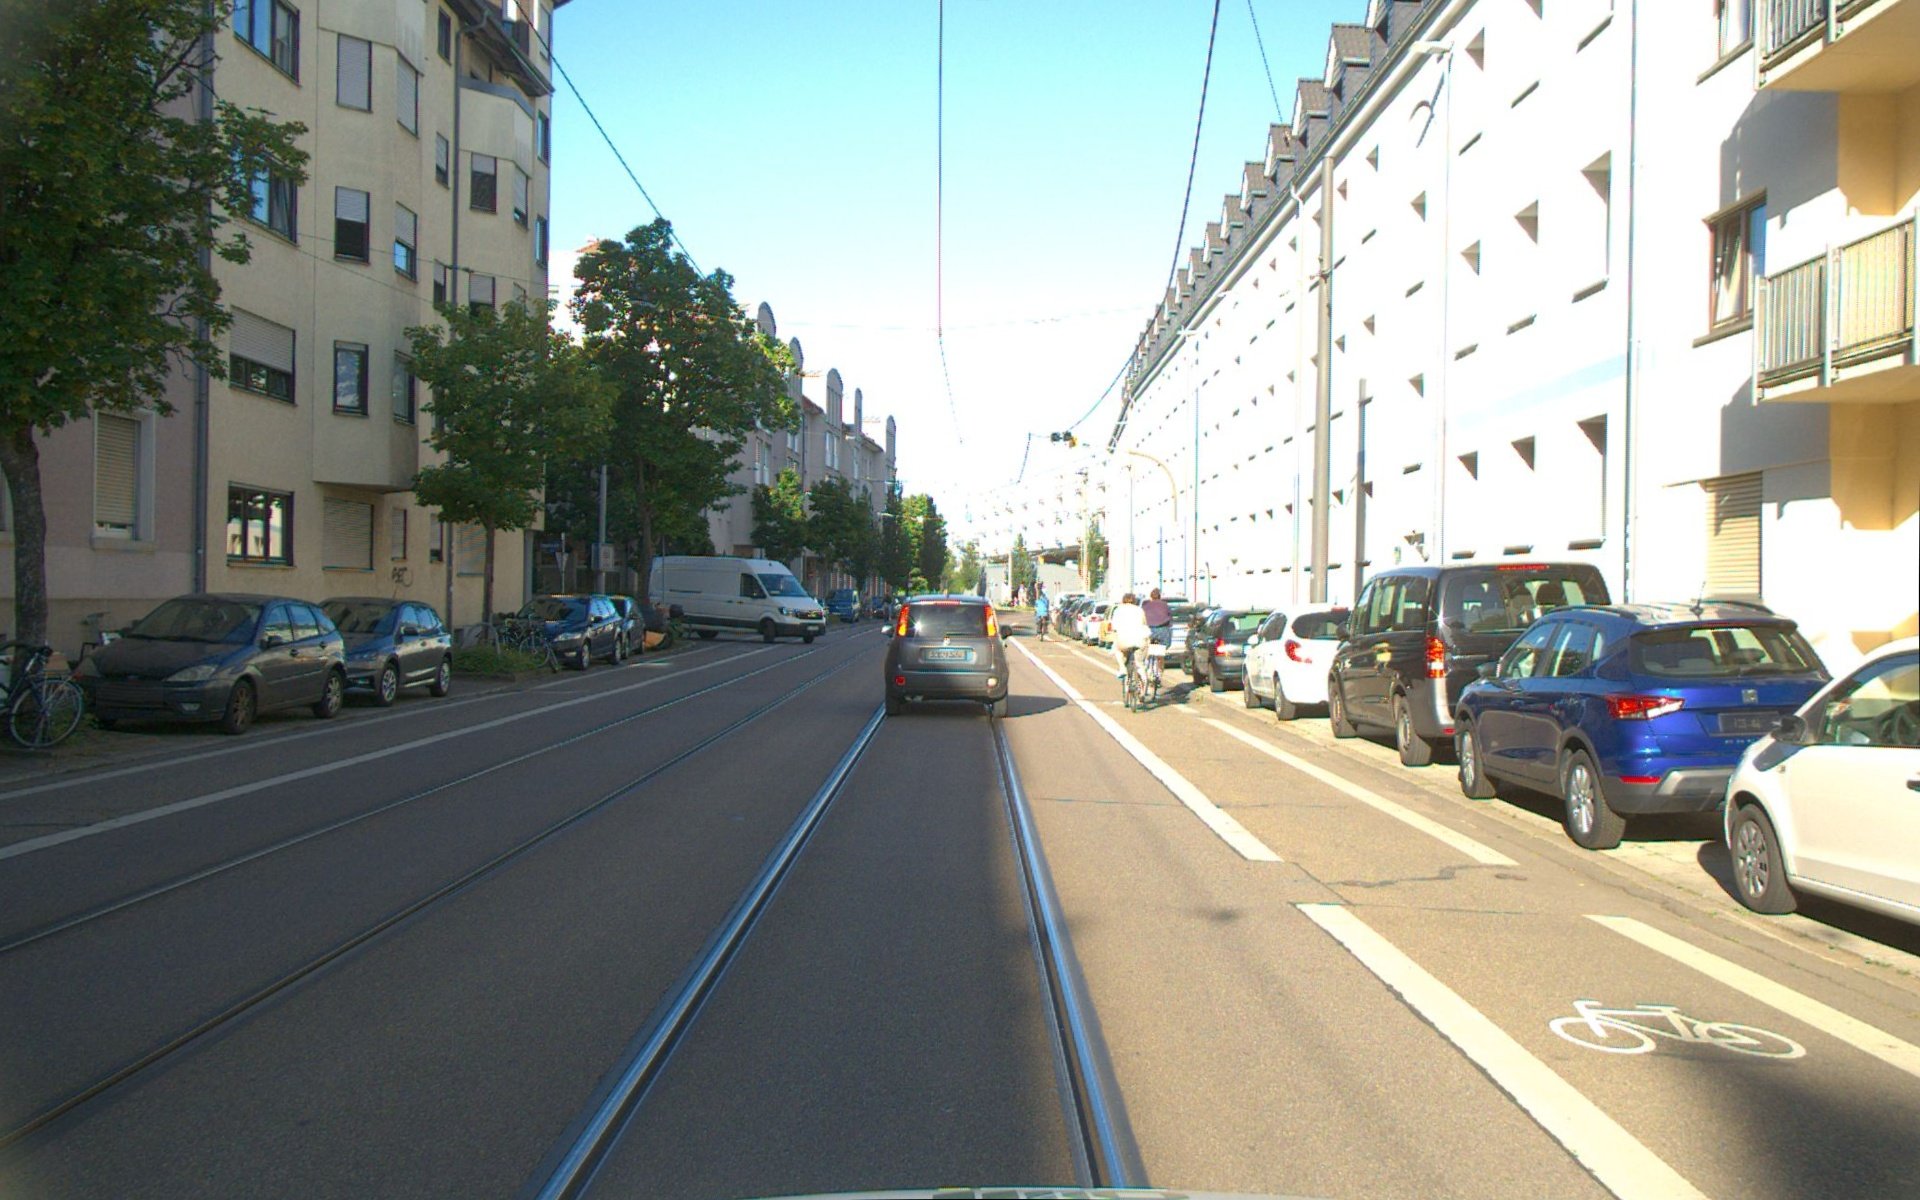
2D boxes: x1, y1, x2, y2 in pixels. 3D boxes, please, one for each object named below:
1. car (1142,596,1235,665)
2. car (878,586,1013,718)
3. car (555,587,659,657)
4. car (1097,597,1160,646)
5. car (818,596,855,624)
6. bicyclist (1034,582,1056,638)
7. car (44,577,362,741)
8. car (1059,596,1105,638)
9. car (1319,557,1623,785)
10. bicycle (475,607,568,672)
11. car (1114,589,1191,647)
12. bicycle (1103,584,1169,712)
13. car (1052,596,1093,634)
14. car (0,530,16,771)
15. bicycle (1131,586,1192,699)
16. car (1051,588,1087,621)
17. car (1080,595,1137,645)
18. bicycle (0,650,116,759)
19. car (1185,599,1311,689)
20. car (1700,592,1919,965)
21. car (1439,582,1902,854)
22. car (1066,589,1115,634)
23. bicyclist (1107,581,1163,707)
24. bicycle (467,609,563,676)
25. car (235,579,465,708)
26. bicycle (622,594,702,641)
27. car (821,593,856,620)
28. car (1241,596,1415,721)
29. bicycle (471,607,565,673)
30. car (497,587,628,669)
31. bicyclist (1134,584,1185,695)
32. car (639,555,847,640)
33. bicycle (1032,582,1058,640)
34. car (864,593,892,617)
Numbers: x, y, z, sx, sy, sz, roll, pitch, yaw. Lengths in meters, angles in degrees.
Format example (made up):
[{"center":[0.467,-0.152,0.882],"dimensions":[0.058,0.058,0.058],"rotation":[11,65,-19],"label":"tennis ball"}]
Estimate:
[{"center":[5.175,0.667,37.777],"dimensions":[1.551,1.430,3.376],"rotation":[-3,0,-1],"label":"car"},{"center":[-0.151,0.631,22.476],"dimensions":[1.616,1.568,4.235],"rotation":[2,0,1],"label":"car"},{"center":[-8.545,0.503,40.337],"dimensions":[1.797,1.583,3.376],"rotation":[2,0,-1],"label":"car"},{"center":[5.268,0.647,51.973],"dimensions":[1.551,1.430,3.376],"rotation":[2,0,-1],"label":"car"},{"center":[-6.990,0.563,93.840],"dimensions":[1.672,1.523,3.722],"rotation":[2,0,1],"label":"car"},{"center":[3.134,0.365,61.124],"dimensions":[0.700,2.049,0.831],"rotation":[2,0,-1],"label":"bicyclist"},{"center":[-8.594,0.605,19.201],"dimensions":[1.771,1.648,4.064],"rotation":[2,0,0],"label":"car"},{"center":[5.054,0.693,68.852],"dimensions":[1.551,1.627,3.376],"rotation":[2,0,-1],"label":"car"},{"center":[5.057,0.626,17.071],"dimensions":[1.622,1.978,4.664],"rotation":[2,0,0],"label":"car"},{"center":[-8.628,0.774,32.574],"dimensions":[1.694,1.217,0.372],"rotation":[2,0,-4],"label":"bicycle"},{"center":[5.051,0.456,43.695],"dimensions":[1.551,1.430,3.376],"rotation":[2,0,-1],"label":"car"},{"center":[2.566,0.676,24.308],"dimensions":[0.661,1.777,2.157],"rotation":[2,0,-1],"label":"bicycle"},{"center":[5.045,0.674,74.679],"dimensions":[1.551,1.627,3.376],"rotation":[2,0,-1],"label":"car"},{"center":[-8.741,0.393,11.530],"dimensions":[1.771,1.977,4.333],"rotation":[2,0,0],"label":"car"},{"center":[3.322,0.674,27.448],"dimensions":[0.661,1.777,2.157],"rotation":[2,0,-1],"label":"bicycle"},{"center":[5.539,0.210,84.376],"dimensions":[1.551,1.627,3.376],"rotation":[2,0,-1],"label":"car"},{"center":[5.052,0.655,56.649],"dimensions":[1.551,1.627,3.376],"rotation":[2,0,-1],"label":"car"},{"center":[-8.800,0.954,15.357],"dimensions":[1.599,0.953,0.516],"rotation":[2,0,-4],"label":"bicycle"},{"center":[5.019,0.727,29.164],"dimensions":[1.551,1.430,3.376],"rotation":[2,0,-1],"label":"car"},{"center":[4.945,0.792,7.424],"dimensions":[1.622,1.598,3.499],"rotation":[2,0,0],"label":"car"},{"center":[4.869,0.709,11.956],"dimensions":[1.622,1.598,3.876],"rotation":[2,0,0],"label":"car"},{"center":[5.016,0.430,64.037],"dimensions":[1.551,1.627,3.376],"rotation":[2,0,-1],"label":"car"},{"center":[2.562,0.633,24.291],"dimensions":[0.685,1.790,0.757],"rotation":[2,0,-1],"label":"bicyclist"},{"center":[-8.538,0.808,31.764],"dimensions":[1.694,1.217,0.372],"rotation":[2,0,-4],"label":"bicycle"},{"center":[-8.689,0.567,23.951],"dimensions":[1.771,1.648,4.064],"rotation":[2,0,0],"label":"car"},{"center":[-8.858,0.521,49.150],"dimensions":[2.231,1.310,0.757],"rotation":[2,0,-5],"label":"bicycle"},{"center":[-7.169,0.385,97.782],"dimensions":[1.672,1.523,3.722],"rotation":[2,0,1],"label":"car"},{"center":[4.932,0.743,22.554],"dimensions":[1.622,1.526,3.129],"rotation":[2,0,0],"label":"car"},{"center":[-8.586,0.775,32.160],"dimensions":[1.694,1.217,0.372],"rotation":[2,0,-4],"label":"bicycle"},{"center":[-8.365,0.554,35.131],"dimensions":[1.797,1.583,3.999],"rotation":[2,0,-1],"label":"car"},{"center":[3.302,0.649,27.423],"dimensions":[0.685,1.790,0.757],"rotation":[2,0,-1],"label":"bicyclist"},{"center":[-6.940,-0.123,52.311],"dimensions":[6.783,2.445,2.168],"rotation":[2,0,35],"label":"car"},{"center":[3.137,0.394,61.116],"dimensions":[0.726,2.049,2.811],"rotation":[2,0,-1],"label":"bicycle"},{"center":[-5.610,0.332,113.435],"dimensions":[1.672,1.523,3.722],"rotation":[2,0,1],"label":"car"}]
